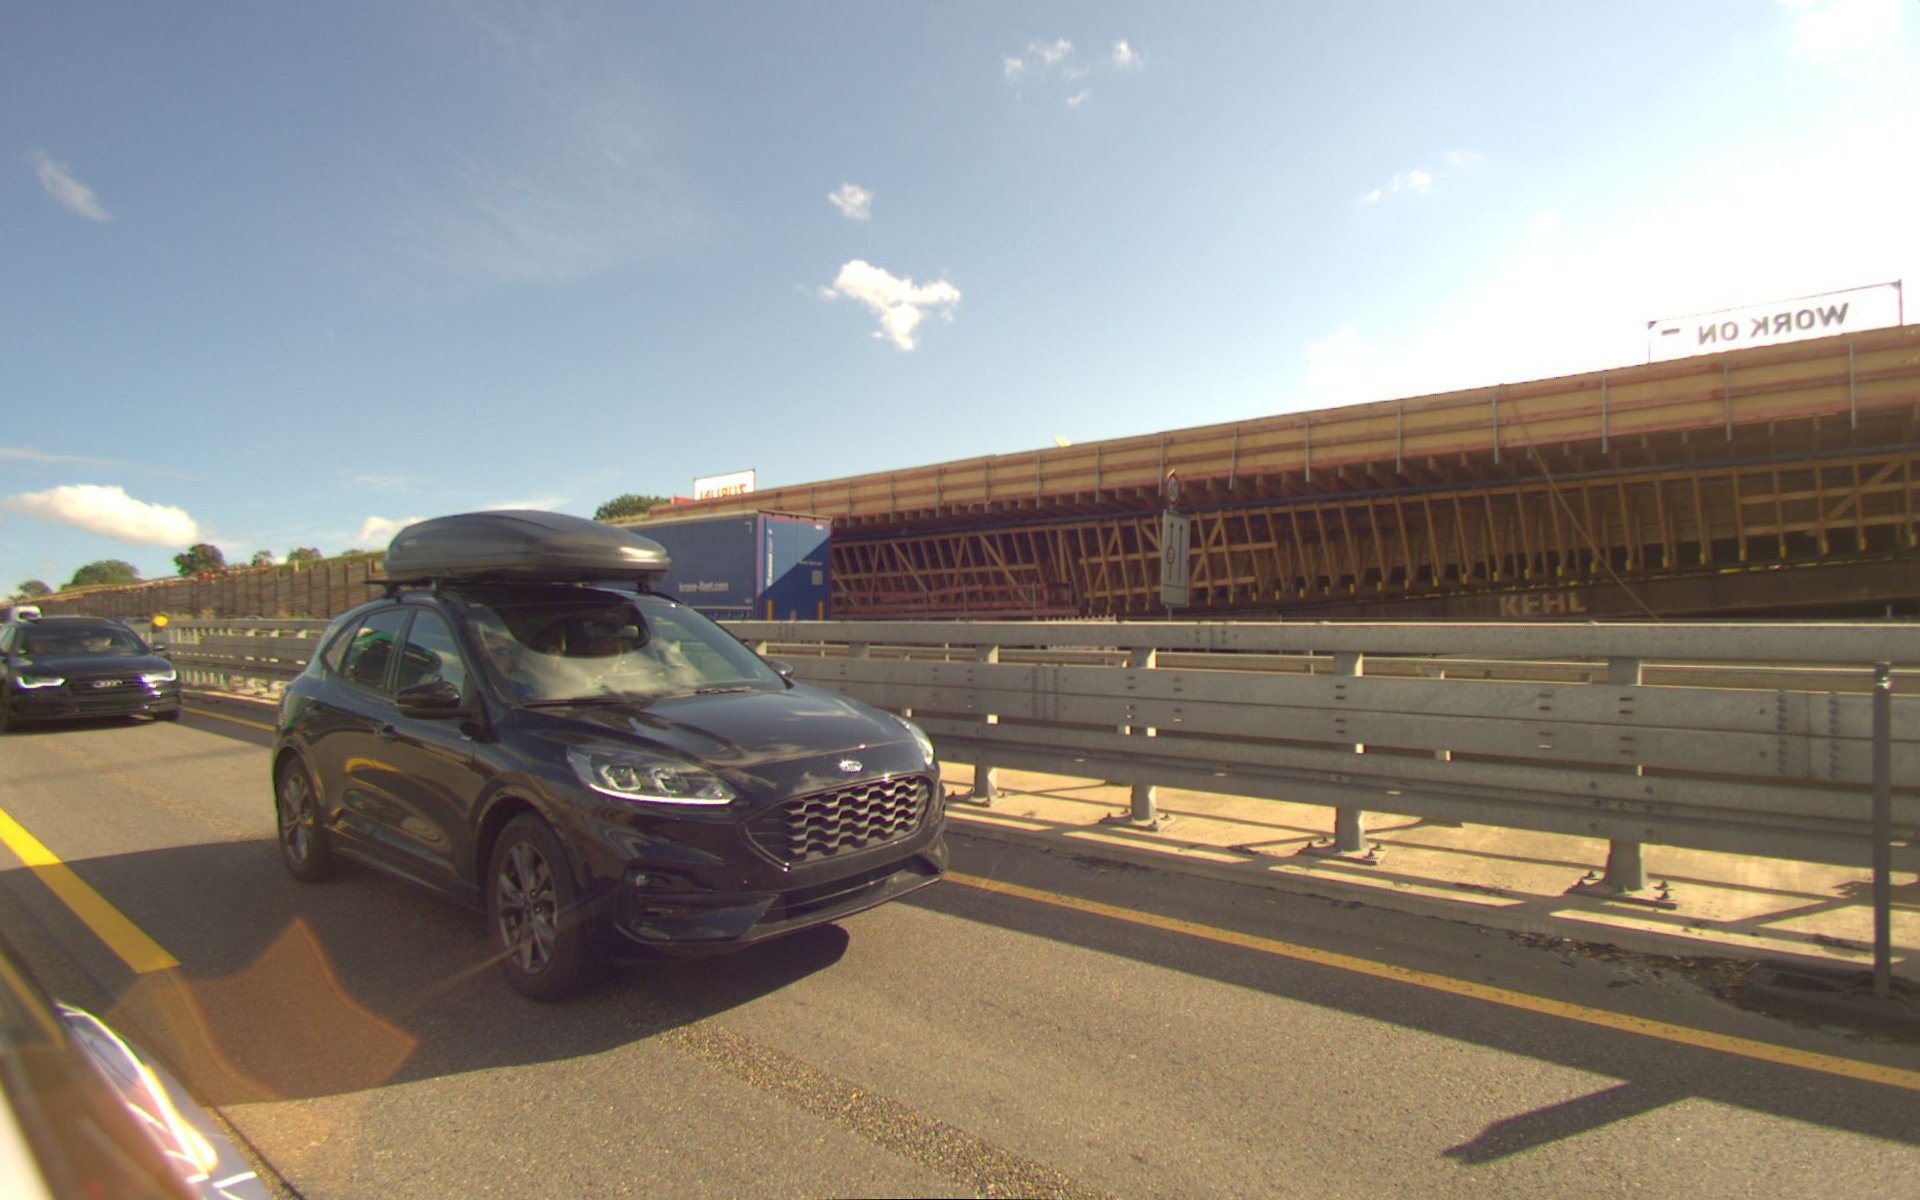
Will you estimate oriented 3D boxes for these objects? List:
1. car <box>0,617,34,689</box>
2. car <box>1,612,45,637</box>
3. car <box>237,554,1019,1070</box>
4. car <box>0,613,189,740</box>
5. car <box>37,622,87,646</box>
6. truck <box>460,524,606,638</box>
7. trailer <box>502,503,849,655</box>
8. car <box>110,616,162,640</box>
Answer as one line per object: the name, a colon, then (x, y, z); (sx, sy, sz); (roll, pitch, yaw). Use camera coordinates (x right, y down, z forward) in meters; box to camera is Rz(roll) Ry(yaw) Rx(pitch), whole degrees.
car: (-21.415, 1.169, 21.592); (4.405, 1.441, 1.924); (-3, 0, 41)
car: (-95.131, 2.447, 102.746); (6.400, 2.360, 2.540); (0, 0, 40)
car: (-1.988, 0.690, 5.171); (4.381, 1.554, 1.781); (-2, -1, 40)
car: (-12.700, 0.959, 14.421); (4.504, 1.441, 1.923); (0, 1, 42)
car: (-62.377, 2.362, 70.291); (4.404, 1.441, 1.925); (0, 2, 40)
truck: (-14.768, -0.603, 34.939); (4.807, 3.656, 2.813); (0, 0, 41)
trailer: (-9.006, -0.502, 30.074); (13.518, 3.694, 2.834); (0, 0, 40)
car: (-56.805, 1.910, 69.768); (4.404, 1.441, 1.925); (0, 2, 40)
